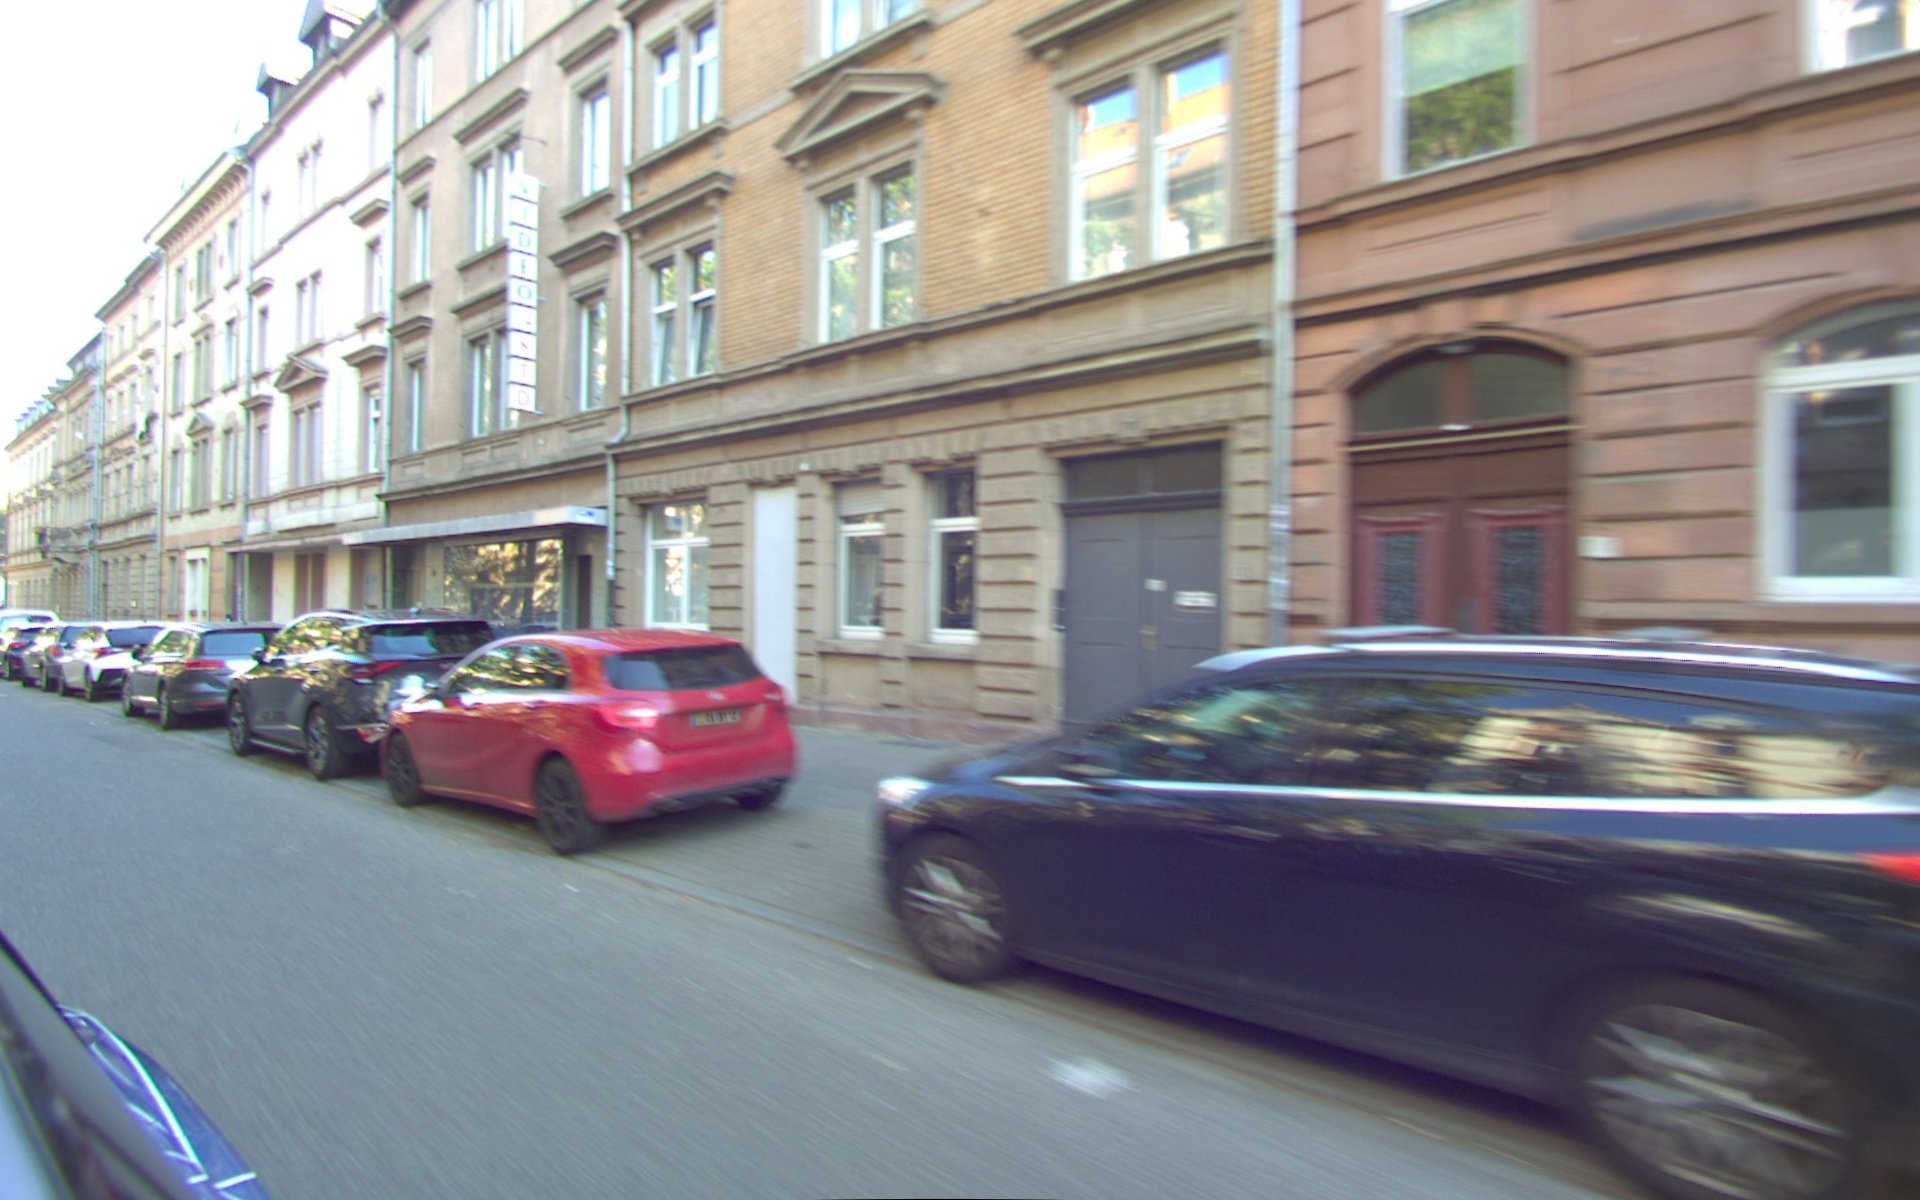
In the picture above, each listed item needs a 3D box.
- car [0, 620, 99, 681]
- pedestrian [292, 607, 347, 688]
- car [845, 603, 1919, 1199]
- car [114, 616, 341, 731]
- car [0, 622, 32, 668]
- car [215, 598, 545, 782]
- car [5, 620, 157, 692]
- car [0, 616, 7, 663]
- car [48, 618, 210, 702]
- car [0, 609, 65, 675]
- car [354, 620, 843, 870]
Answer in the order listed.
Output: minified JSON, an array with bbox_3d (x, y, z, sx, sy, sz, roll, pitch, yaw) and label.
[{"bbox_3d":[-24.311,1.282,26.737,4.241,1.484,1.729,-1,-2,40],"label":"car"},{"bbox_3d":[-13.384,0.977,21.142,1.017,1.643,0.688,-1,-2,40],"label":"pedestrian"},{"bbox_3d":[1.738,0.785,3.850,4.421,1.488,1.802,-1,0,41],"label":"car"},{"bbox_3d":[-11.118,0.999,15.241,4.487,1.483,1.842,-1,-2,42],"label":"car"},{"bbox_3d":[-31.979,1.460,33.295,3.821,1.432,1.620,-1,-1,39],"label":"car"},{"bbox_3d":[-6.457,0.827,11.060,4.311,1.612,1.802,-1,0,41],"label":"car"},{"bbox_3d":[-19.855,1.184,22.802,4.538,1.455,1.867,-1,-1,39],"label":"car"},{"bbox_3d":[-36.805,1.464,37.518,4.155,1.670,1.748,-1,-1,41],"label":"car"},{"bbox_3d":[-16.369,1.104,19.875,4.085,1.483,1.739,-1,-2,40],"label":"car"},{"bbox_3d":[-28.397,1.227,30.247,4.603,1.847,1.823,-1,-1,40],"label":"car"},{"bbox_3d":[-3.074,0.907,8.116,4.311,1.436,1.802,-1,0,41],"label":"car"}]
